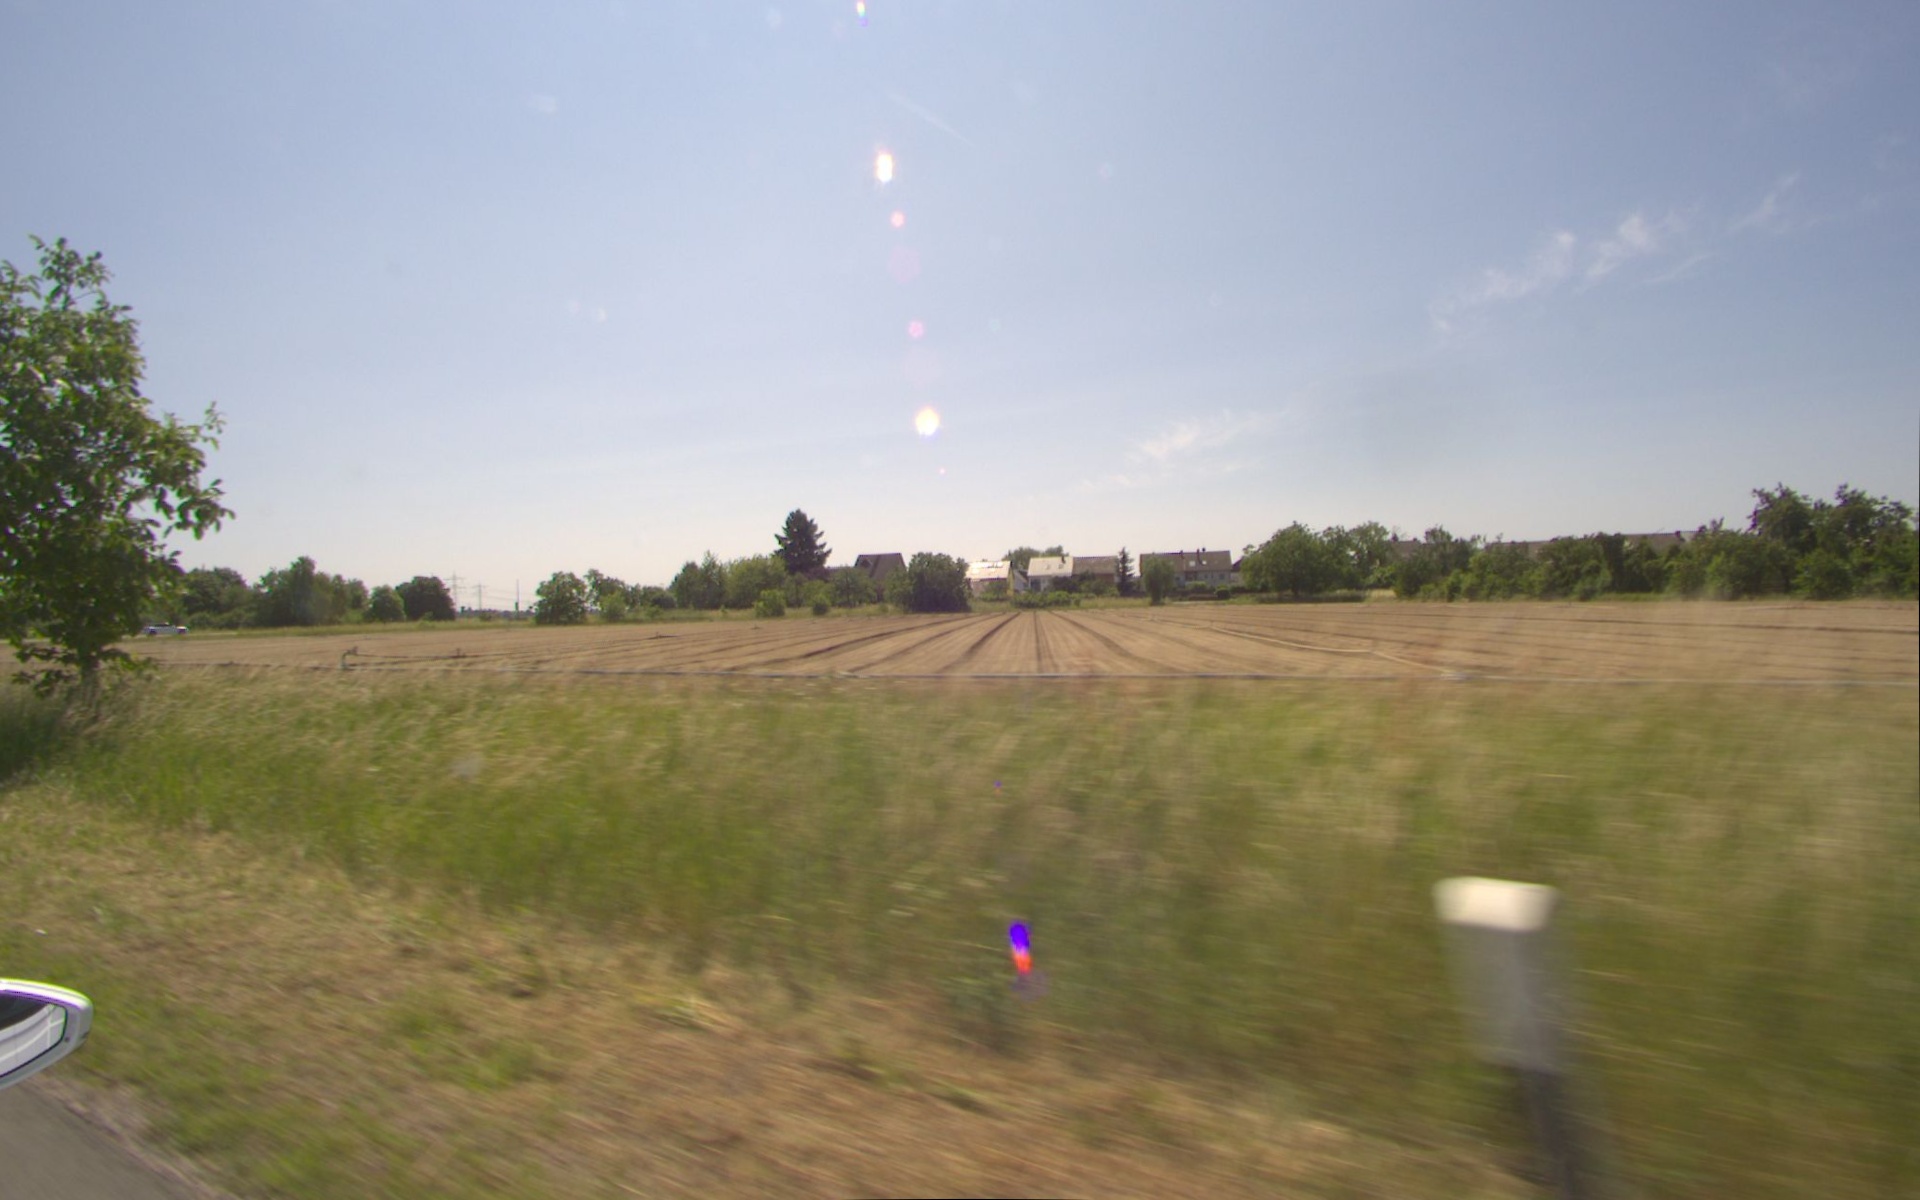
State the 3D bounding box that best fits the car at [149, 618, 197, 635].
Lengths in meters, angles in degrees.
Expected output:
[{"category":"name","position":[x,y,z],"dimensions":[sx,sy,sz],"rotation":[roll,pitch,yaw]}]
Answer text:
[{"category":"car","position":[-86.138,2.889,109.676],"dimensions":[1.628,1.645,3.962],"rotation":[-1,0,45]}]
